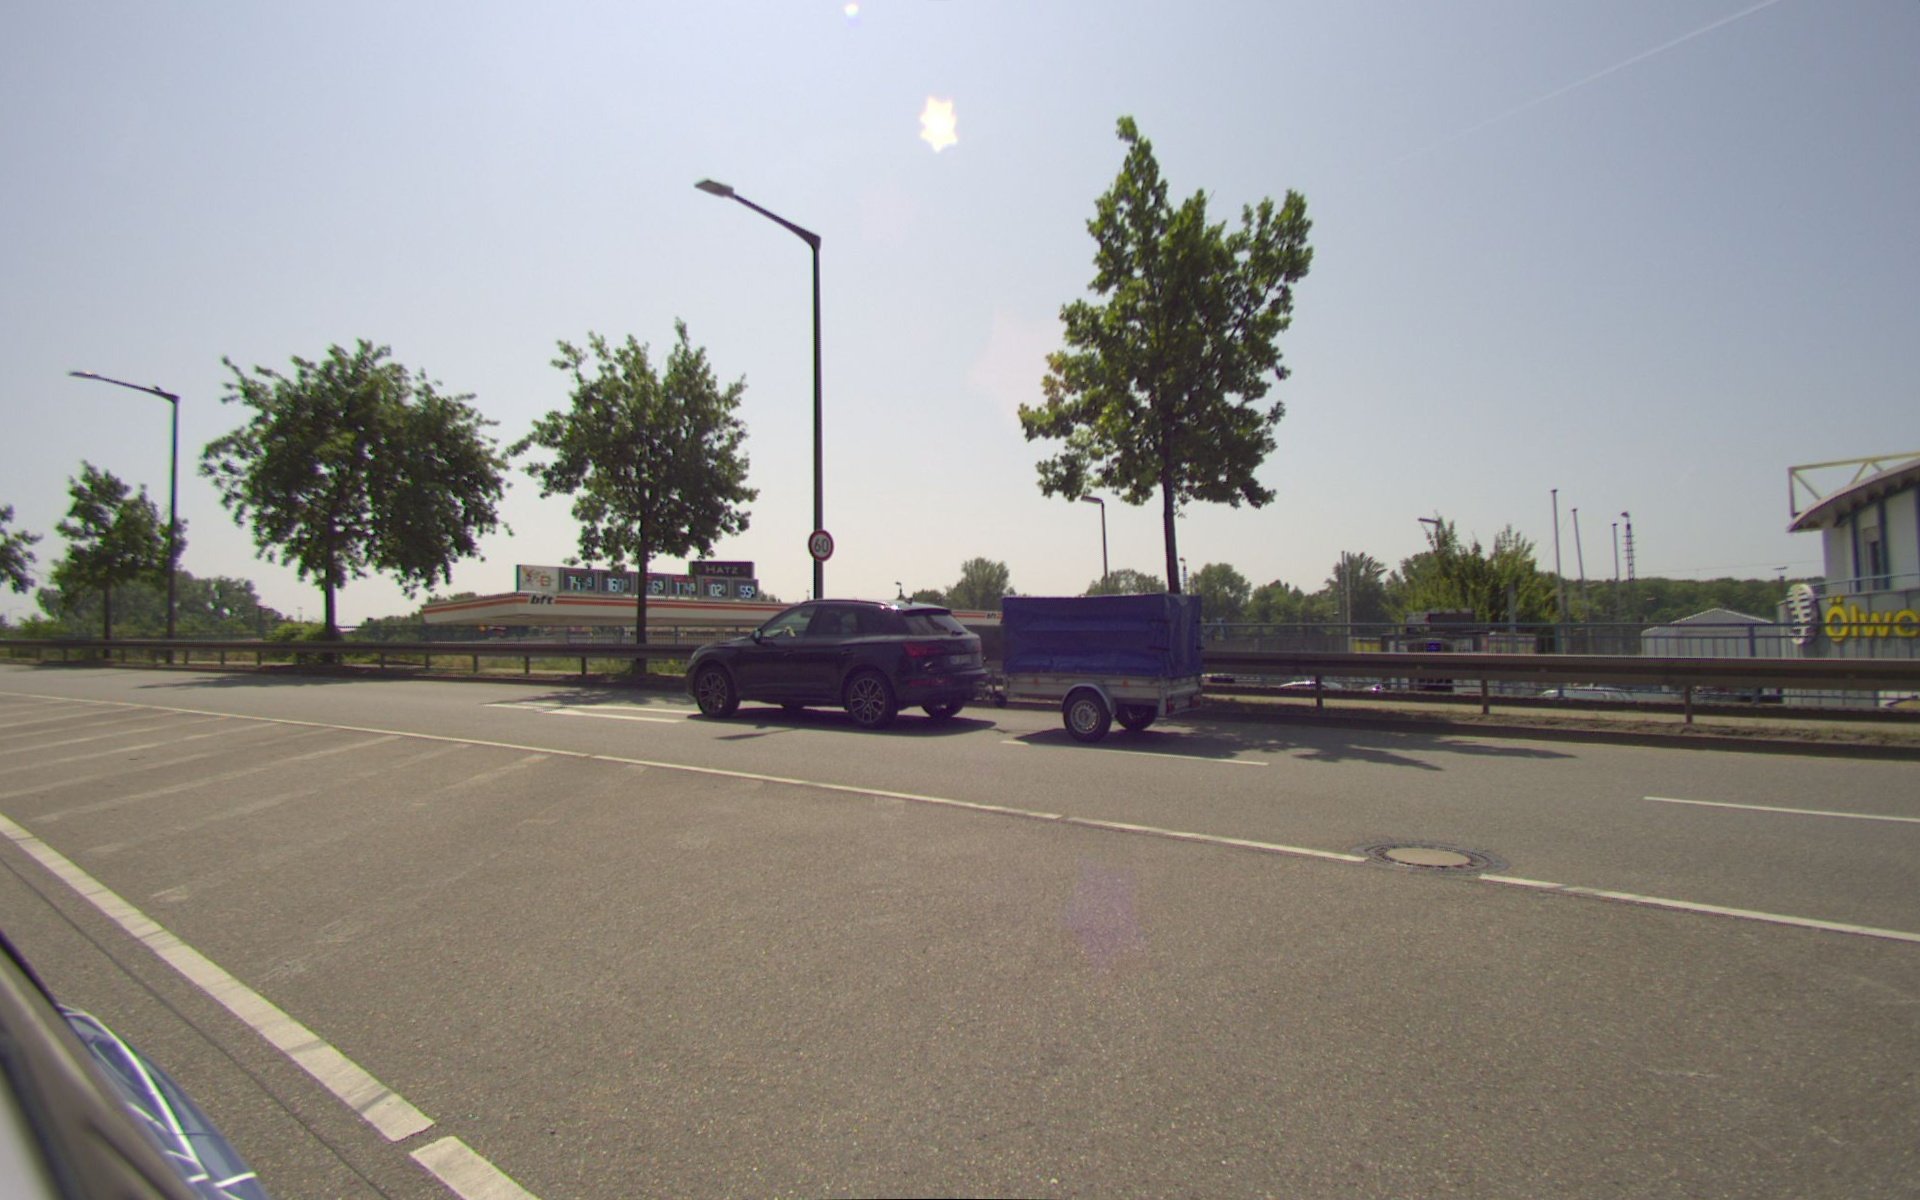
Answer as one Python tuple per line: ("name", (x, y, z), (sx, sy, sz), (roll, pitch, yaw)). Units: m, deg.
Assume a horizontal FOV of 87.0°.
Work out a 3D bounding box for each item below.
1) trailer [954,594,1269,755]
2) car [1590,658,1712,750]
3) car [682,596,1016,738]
("trailer", (1.709, 0.767, 11.747), (3.299, 1.627, 1.492), (-1, 0, 34))
("car", (17.717, 2.566, 25.878), (2.000, 2.029, 3.944), (-3, -3, 42))
("car", (-1.602, 0.808, 13.898), (4.396, 1.664, 1.899), (-1, 0, 34))
